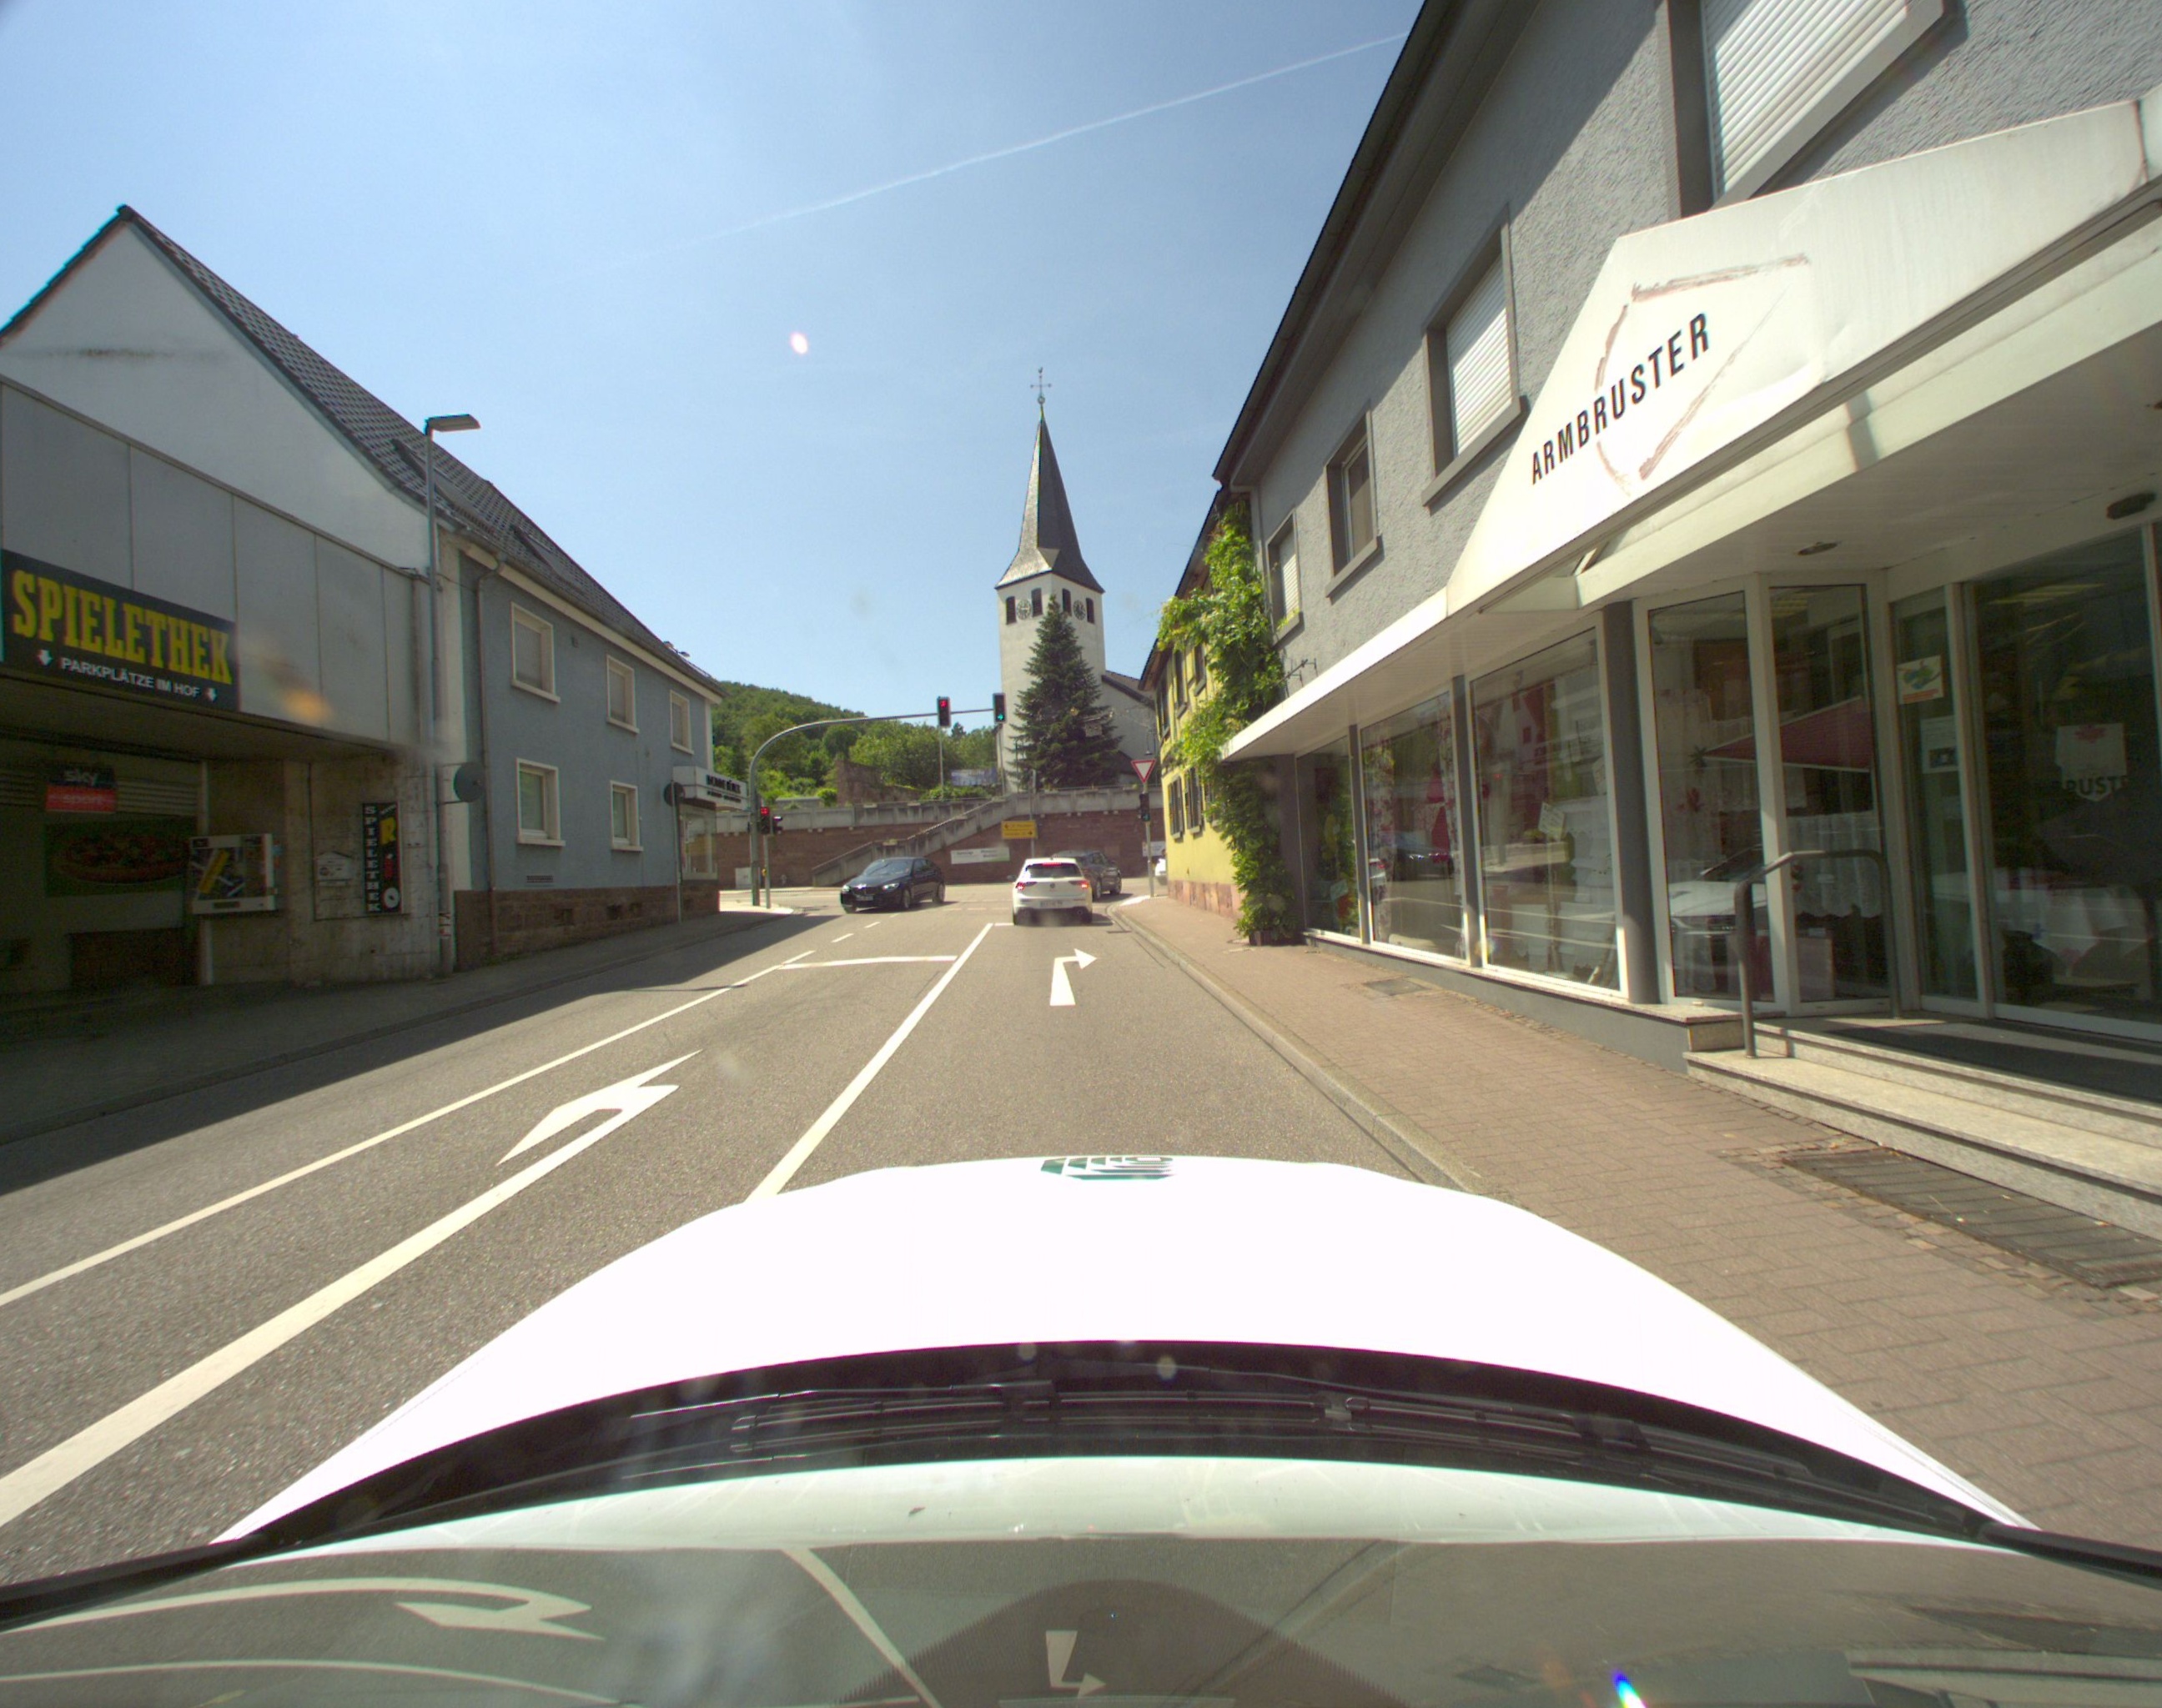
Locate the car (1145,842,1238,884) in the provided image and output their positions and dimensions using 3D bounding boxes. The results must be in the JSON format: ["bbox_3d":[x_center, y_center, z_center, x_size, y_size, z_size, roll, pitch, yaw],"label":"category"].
[{"bbox_3d":[4.671,0.336,34.054,1.754,1.496,4.012,-1,2,44],"label":"car"}]

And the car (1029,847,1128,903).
[{"bbox_3d":[0.028,0.639,27.516,1.933,1.582,4.348,-2,1,19],"label":"car"}]

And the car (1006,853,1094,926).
[{"bbox_3d":[-0.709,0.762,19.119,1.778,1.458,3.860,-3,-1,-2],"label":"car"}]

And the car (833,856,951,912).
[{"bbox_3d":[-5.678,0.856,25.194,1.786,1.487,4.810,-1,0,10],"label":"car"}]
